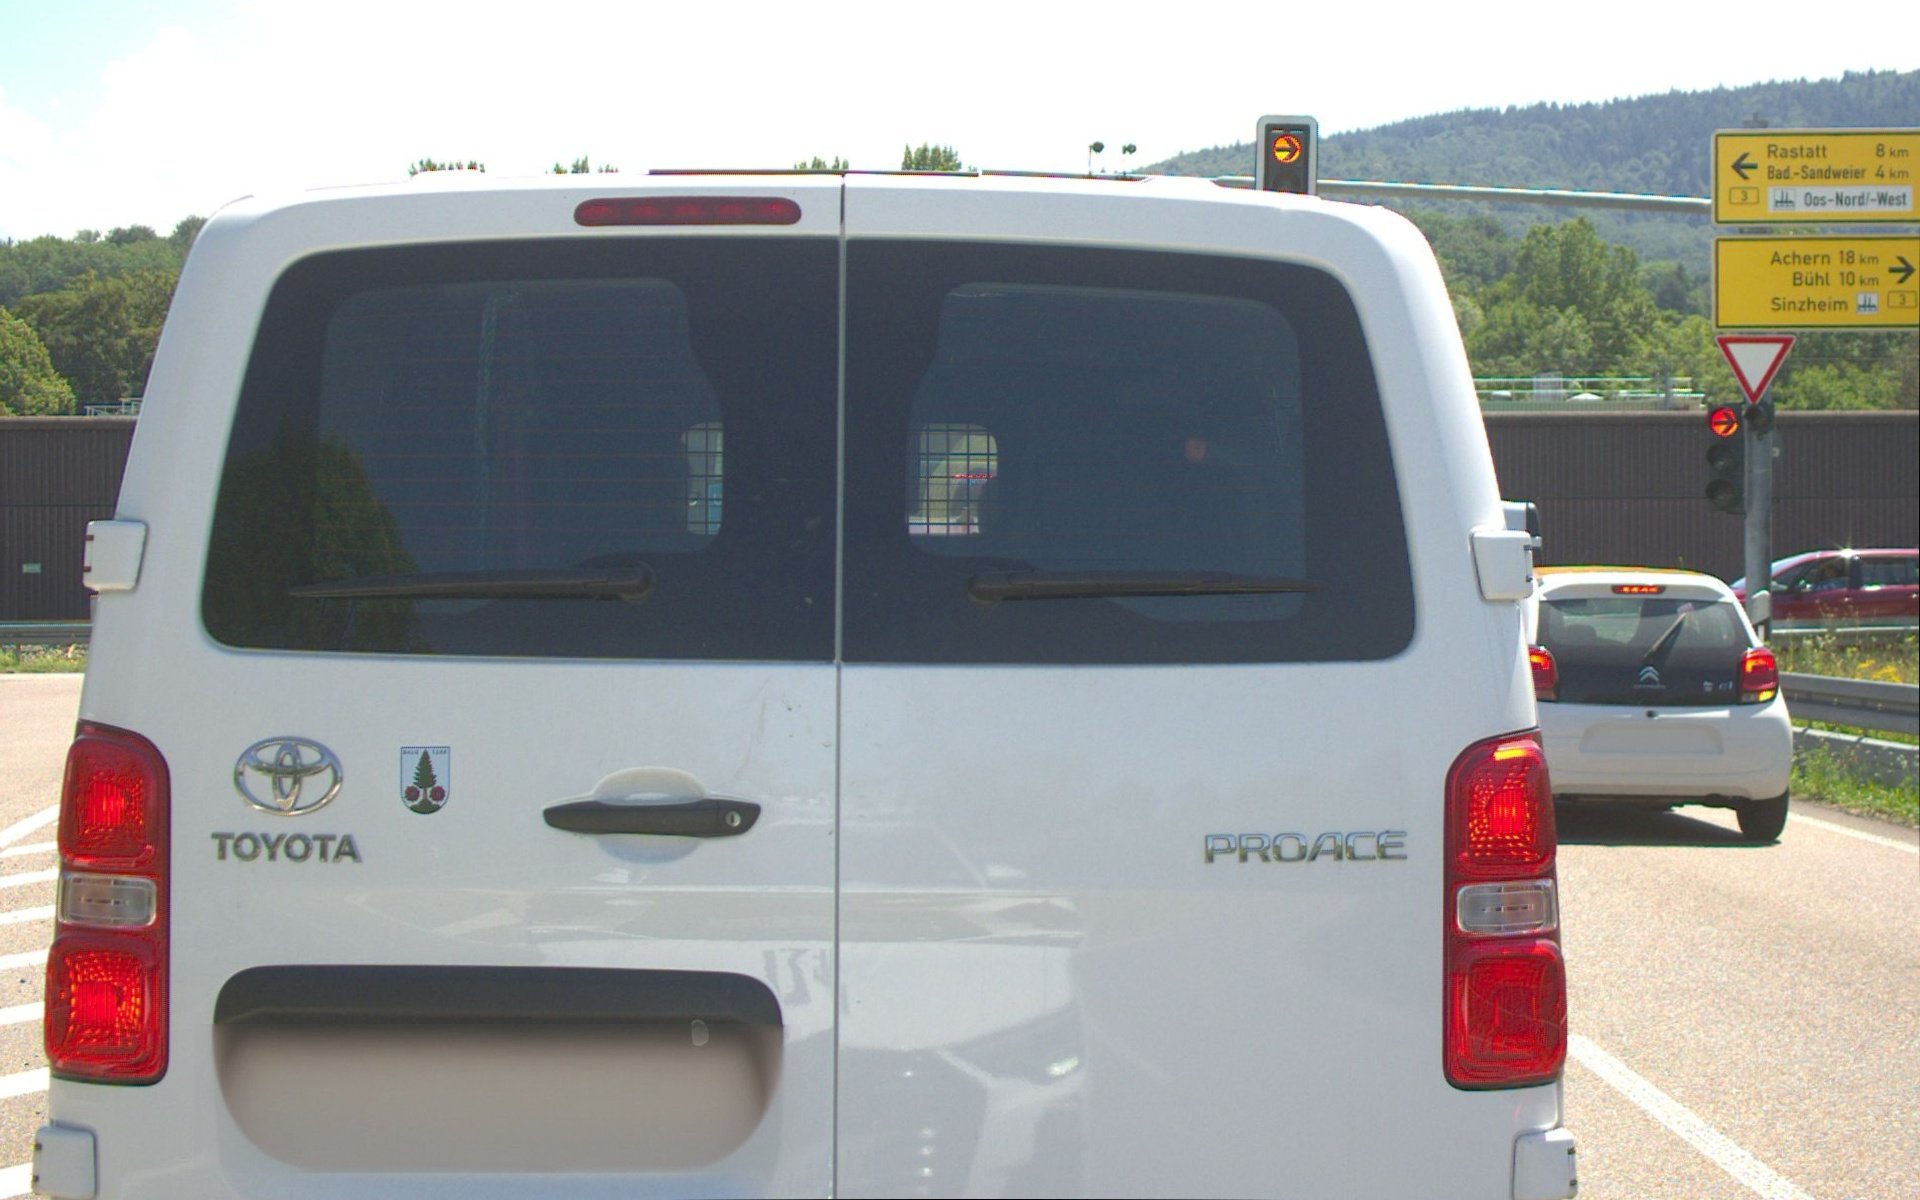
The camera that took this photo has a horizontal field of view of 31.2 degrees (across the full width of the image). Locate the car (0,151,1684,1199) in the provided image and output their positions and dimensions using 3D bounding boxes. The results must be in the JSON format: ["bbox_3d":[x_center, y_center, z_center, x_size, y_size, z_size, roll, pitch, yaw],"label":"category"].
[{"bbox_3d":[-0.217,0.450,5.681,1.886,1.880,4.000,1,1,-1],"label":"car"}]

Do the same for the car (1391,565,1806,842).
[{"bbox_3d":[3.547,0.525,19.648,1.656,1.426,3.366,1,1,-1],"label":"car"}]

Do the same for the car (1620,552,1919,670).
[{"bbox_3d":[11.951,0.146,49.833,4.309,1.651,2.000,0,1,-3],"label":"car"}]

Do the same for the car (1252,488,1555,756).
[{"bbox_3d":[3.531,0.139,28.209,1.928,1.993,4.837,1,1,1],"label":"car"}]
